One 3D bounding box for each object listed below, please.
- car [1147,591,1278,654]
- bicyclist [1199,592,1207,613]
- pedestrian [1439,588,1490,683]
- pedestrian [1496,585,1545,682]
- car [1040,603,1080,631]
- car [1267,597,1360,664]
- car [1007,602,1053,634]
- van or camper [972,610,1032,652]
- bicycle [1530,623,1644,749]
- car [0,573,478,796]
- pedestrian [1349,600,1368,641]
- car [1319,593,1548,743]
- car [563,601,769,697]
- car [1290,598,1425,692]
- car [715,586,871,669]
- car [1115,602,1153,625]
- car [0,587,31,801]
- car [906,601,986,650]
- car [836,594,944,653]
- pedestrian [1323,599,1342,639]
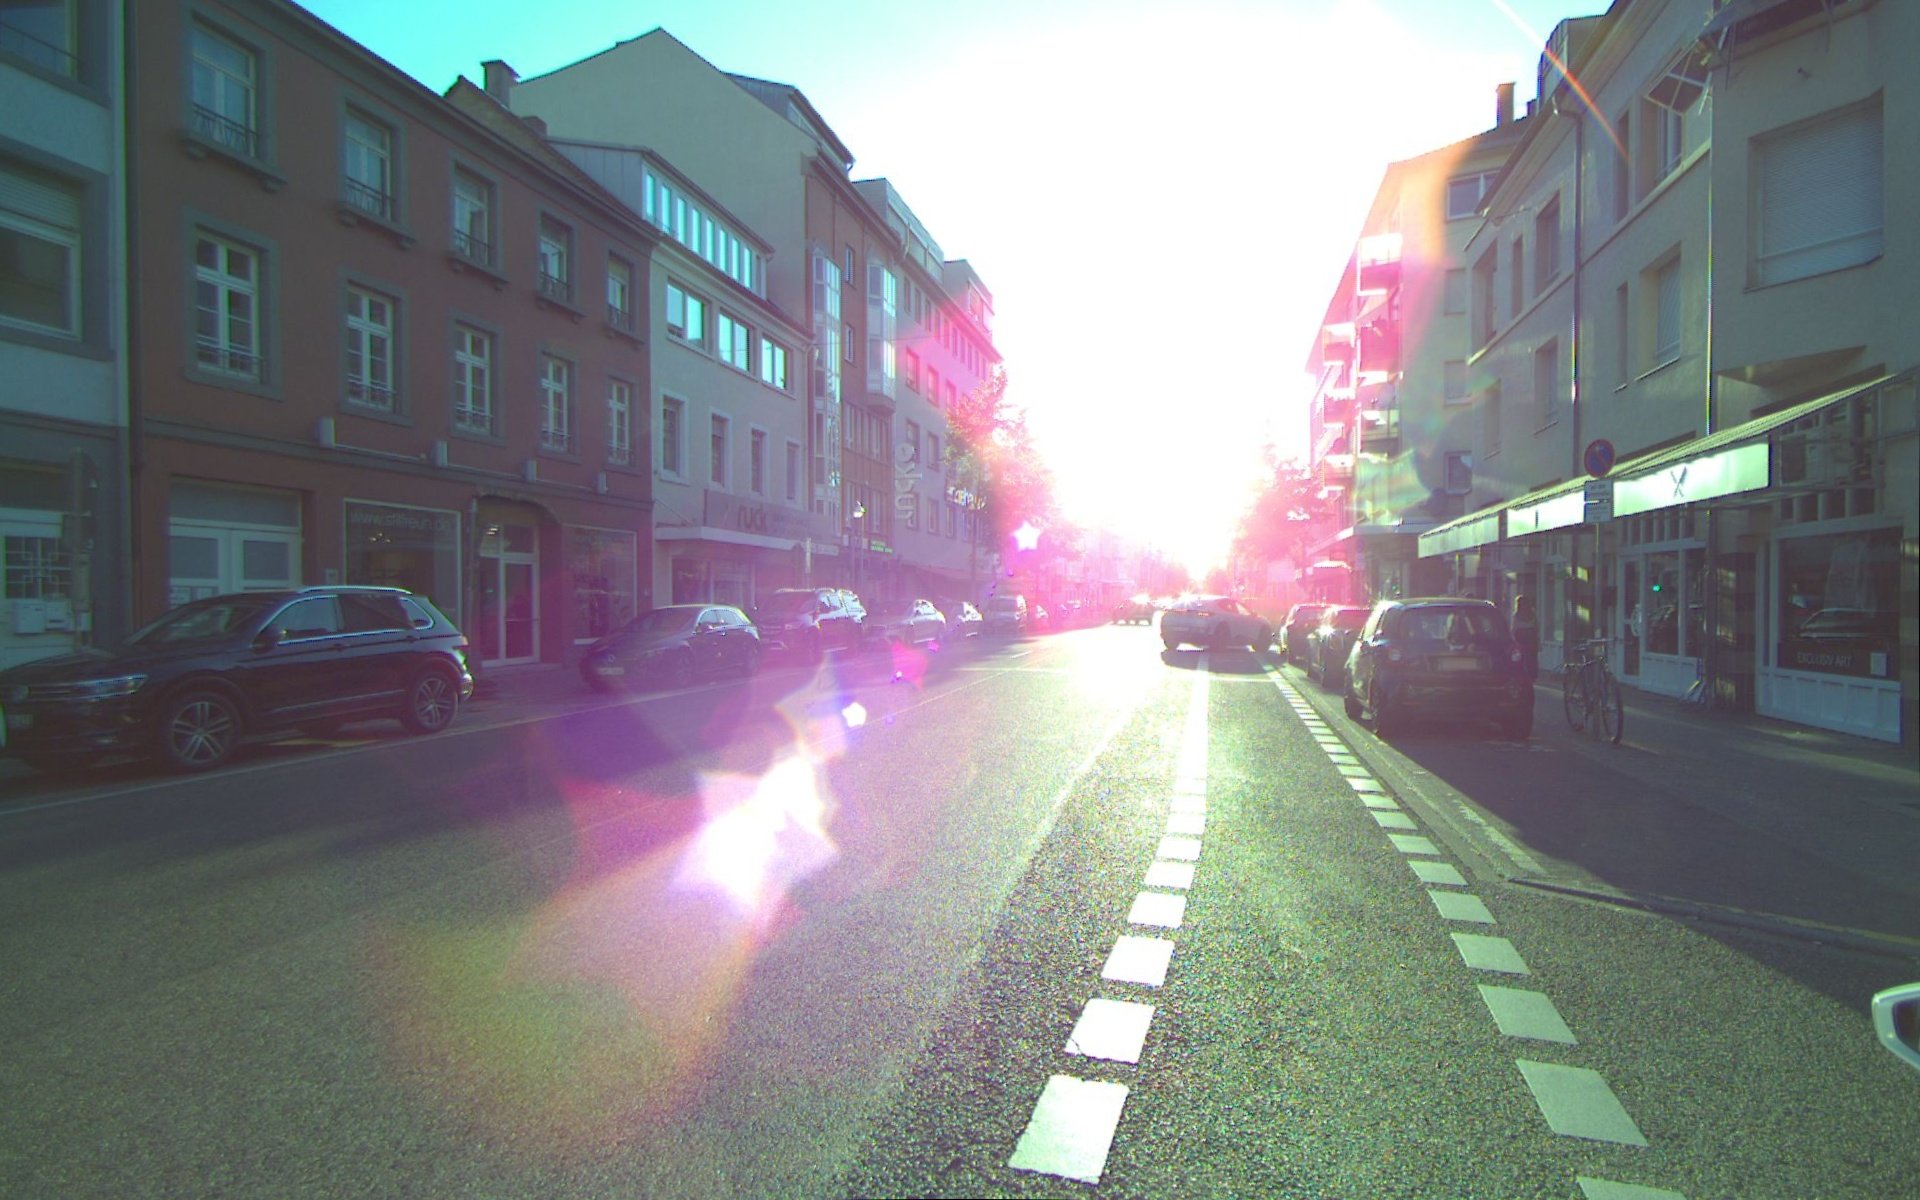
[{"bbox_3d":[7.638,0.654,30.169,4.293,1.720,1.854,1,1,-45],"label":"car"},{"bbox_3d":[18.537,0.196,76.619,0.538,1.602,0.803,0,0,17],"label":"bicyclist"},{"bbox_3d":[9.384,0.645,18.718,0.619,1.723,1.041,0,0,13],"label":"pedestrian"},{"bbox_3d":[10.203,0.596,18.302,0.550,1.723,0.832,0,0,13],"label":"pedestrian"},{"bbox_3d":[5.653,0.936,56.559,1.661,1.523,3.788,0,0,15],"label":"car"},{"bbox_3d":[8.955,0.716,25.717,1.758,1.601,3.789,0,0,12],"label":"car"},{"bbox_3d":[3.635,0.896,51.827,1.661,1.523,3.788,0,0,15],"label":"car"},{"bbox_3d":[1.994,1.369,46.170,1.758,1.797,4.559,0,0,15],"label":"van or camper"},{"bbox_3d":[6.900,0.889,11.152,0.549,1.222,1.978,0,0,16],"label":"bicycle"},{"bbox_3d":[-7.195,0.681,10.120,1.764,1.721,4.462,-2,0,13],"label":"car"},{"bbox_3d":[17.549,0.906,44.237,0.706,1.815,0.667,-1,0,15],"label":"pedestrian"},{"bbox_3d":[5.806,0.721,12.832,1.758,1.601,3.969,0,0,12],"label":"car"},{"bbox_3d":[-5.264,0.818,18.640,1.656,1.508,4.413,-3,0,13],"label":"car"},{"bbox_3d":[7.389,0.756,19.023,1.758,1.601,3.789,0,0,12],"label":"car"},{"bbox_3d":[-3.916,0.610,24.679,1.959,1.801,5.322,-1,0,12],"label":"car"},{"bbox_3d":[11.734,0.867,67.785,1.604,1.430,3.655,2,1,-5],"label":"car"},{"bbox_3d":[-8.400,0.732,5.972,1.633,1.594,3.936,-2,0,15],"label":"car"},{"bbox_3d":[-0.437,0.865,36.966,1.959,1.677,4.482,0,0,13],"label":"car"},{"bbox_3d":[-2.063,0.675,31.092,1.960,1.677,4.630,-1,0,14],"label":"car"},{"bbox_3d":[16.891,0.851,45.530,0.706,1.815,0.667,-1,0,15],"label":"pedestrian"}]
